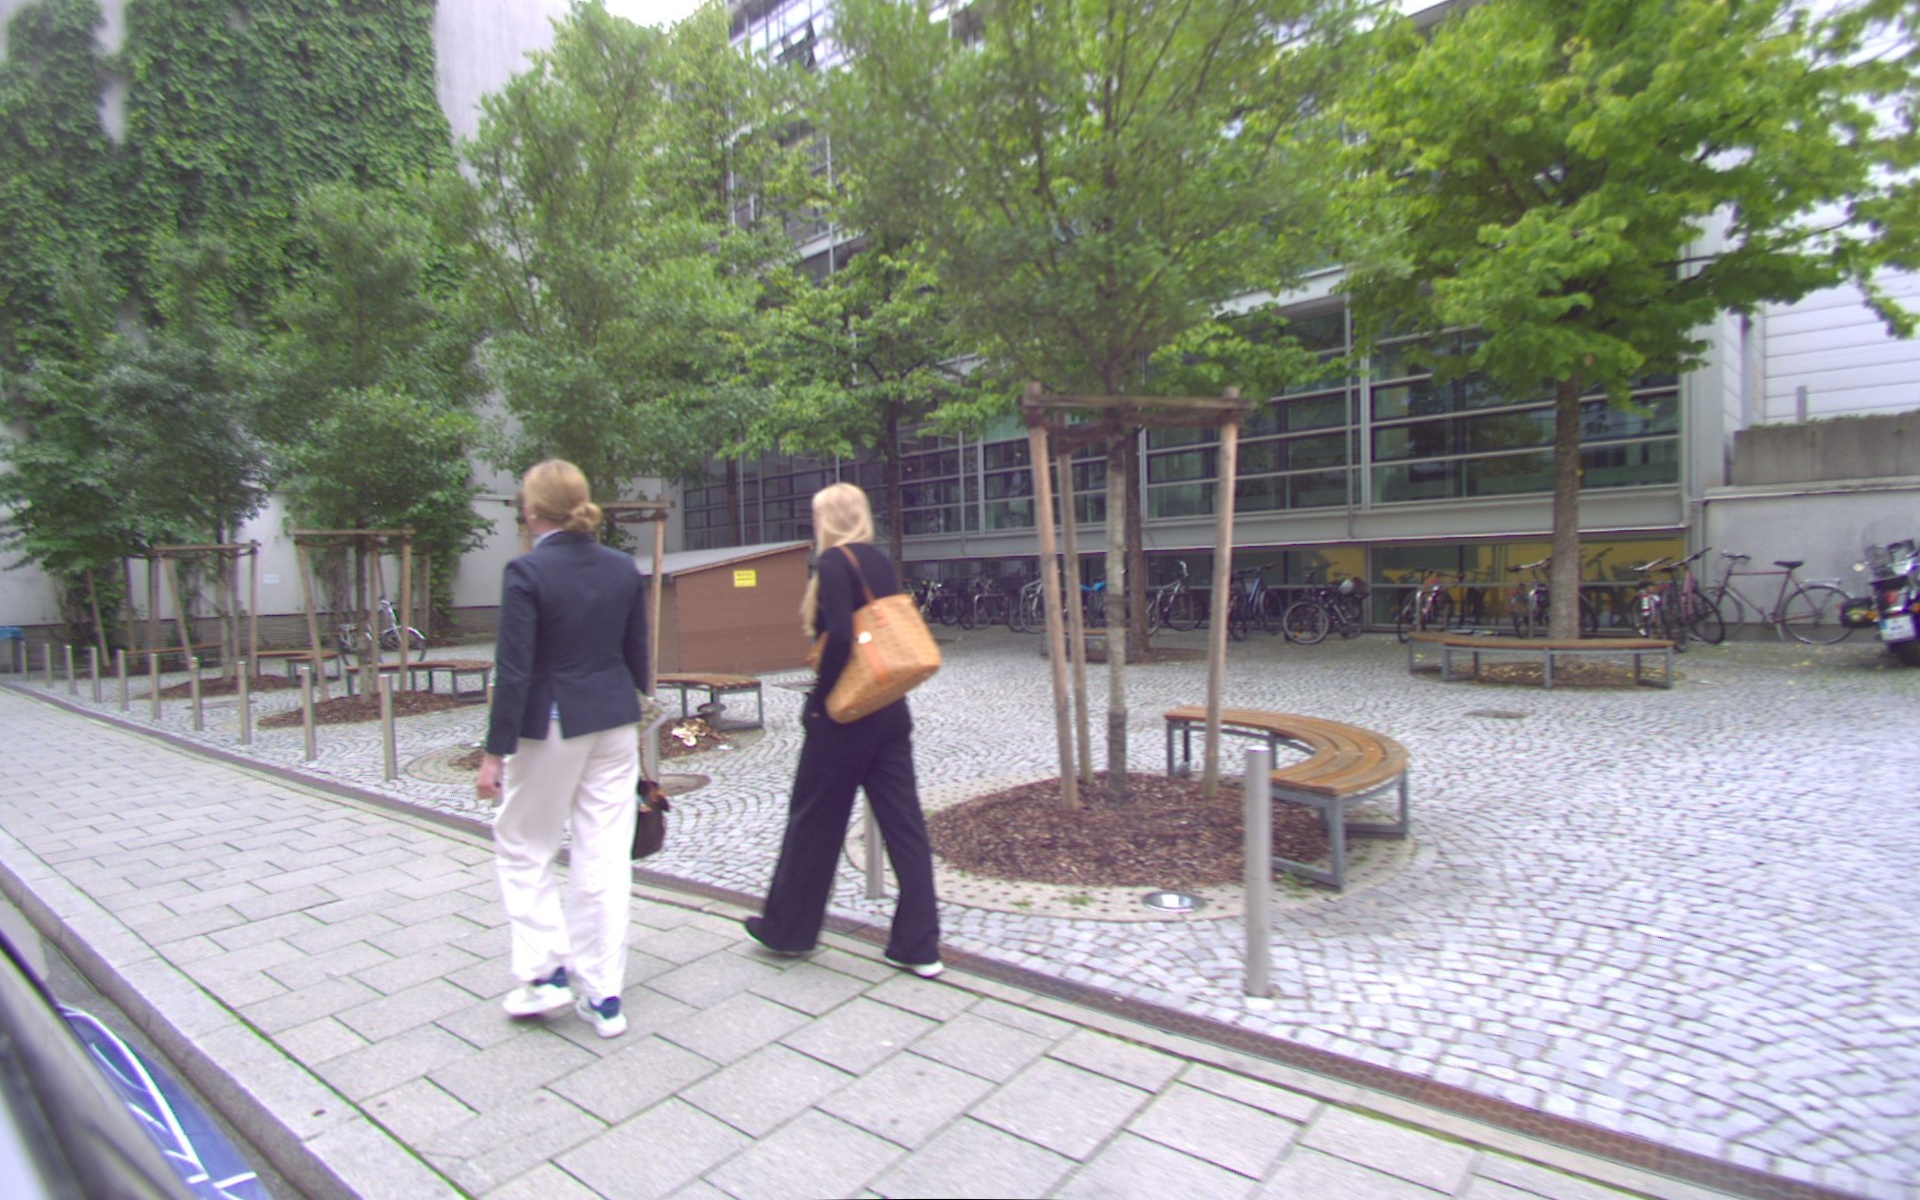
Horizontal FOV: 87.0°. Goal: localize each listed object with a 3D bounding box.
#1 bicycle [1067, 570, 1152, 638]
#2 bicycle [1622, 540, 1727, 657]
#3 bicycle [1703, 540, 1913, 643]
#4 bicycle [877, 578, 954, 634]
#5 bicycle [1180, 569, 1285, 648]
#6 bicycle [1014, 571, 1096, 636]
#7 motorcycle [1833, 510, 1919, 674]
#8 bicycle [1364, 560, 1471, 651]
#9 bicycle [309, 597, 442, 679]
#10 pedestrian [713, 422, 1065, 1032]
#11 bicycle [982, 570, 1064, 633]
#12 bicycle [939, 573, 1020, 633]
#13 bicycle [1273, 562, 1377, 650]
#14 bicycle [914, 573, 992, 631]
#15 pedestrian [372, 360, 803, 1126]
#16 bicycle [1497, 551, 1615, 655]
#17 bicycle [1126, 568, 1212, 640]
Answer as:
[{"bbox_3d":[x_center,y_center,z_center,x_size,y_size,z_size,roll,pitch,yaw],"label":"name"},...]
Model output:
[{"bbox_3d":[2.544,0.057,17.137,0.629,1.068,1.555,-1,2,42],"label":"bicycle"},{"bbox_3d":[8.124,-0.051,11.476,0.698,1.212,1.876,-1,2,43],"label":"bicycle"},{"bbox_3d":[9.624,-0.087,11.544,1.795,1.099,0.411,-1,0,44],"label":"bicycle"},{"bbox_3d":[-0.899,0.107,20.614,0.629,1.068,1.555,-1,2,42],"label":"bicycle"},{"bbox_3d":[4.123,0.104,15.222,0.705,1.066,1.876,-1,2,43],"label":"bicycle"},{"bbox_3d":[1.704,0.050,18.000,0.629,1.068,1.555,-1,2,42],"label":"bicycle"},{"bbox_3d":[9.166,-0.115,9.784,0.970,1.422,2.636,-1,2,43],"label":"motorcycle"},{"bbox_3d":[6.104,0.041,13.447,0.708,1.083,1.876,-1,2,43],"label":"bicycle"},{"bbox_3d":[-9.281,0.597,16.060,1.985,1.217,0.709,-1,2,22],"label":"bicycle"},{"bbox_3d":[-0.247,0.347,3.295,0.996,1.672,0.547,-1,1,39],"label":"pedestrian"},{"bbox_3d":[1.172,0.014,18.518,0.629,1.068,1.555,-1,2,42],"label":"bicycle"},{"bbox_3d":[0.385,0.044,19.272,0.629,1.068,1.555,-1,2,42],"label":"bicycle"},{"bbox_3d":[5.173,0.057,14.290,0.666,1.114,1.876,-1,2,43],"label":"bicycle"},{"bbox_3d":[-0.124,0.022,20.041,0.629,1.068,1.555,-1,2,42],"label":"bicycle"},{"bbox_3d":[-1.123,0.342,3.050,0.990,1.850,0.768,-1,1,39],"label":"pedestrian"},{"bbox_3d":[7.281,0.004,12.321,0.826,1.134,1.876,-1,2,43],"label":"bicycle"},{"bbox_3d":[3.367,0.046,16.237,0.629,1.068,1.555,-1,2,42],"label":"bicycle"}]
